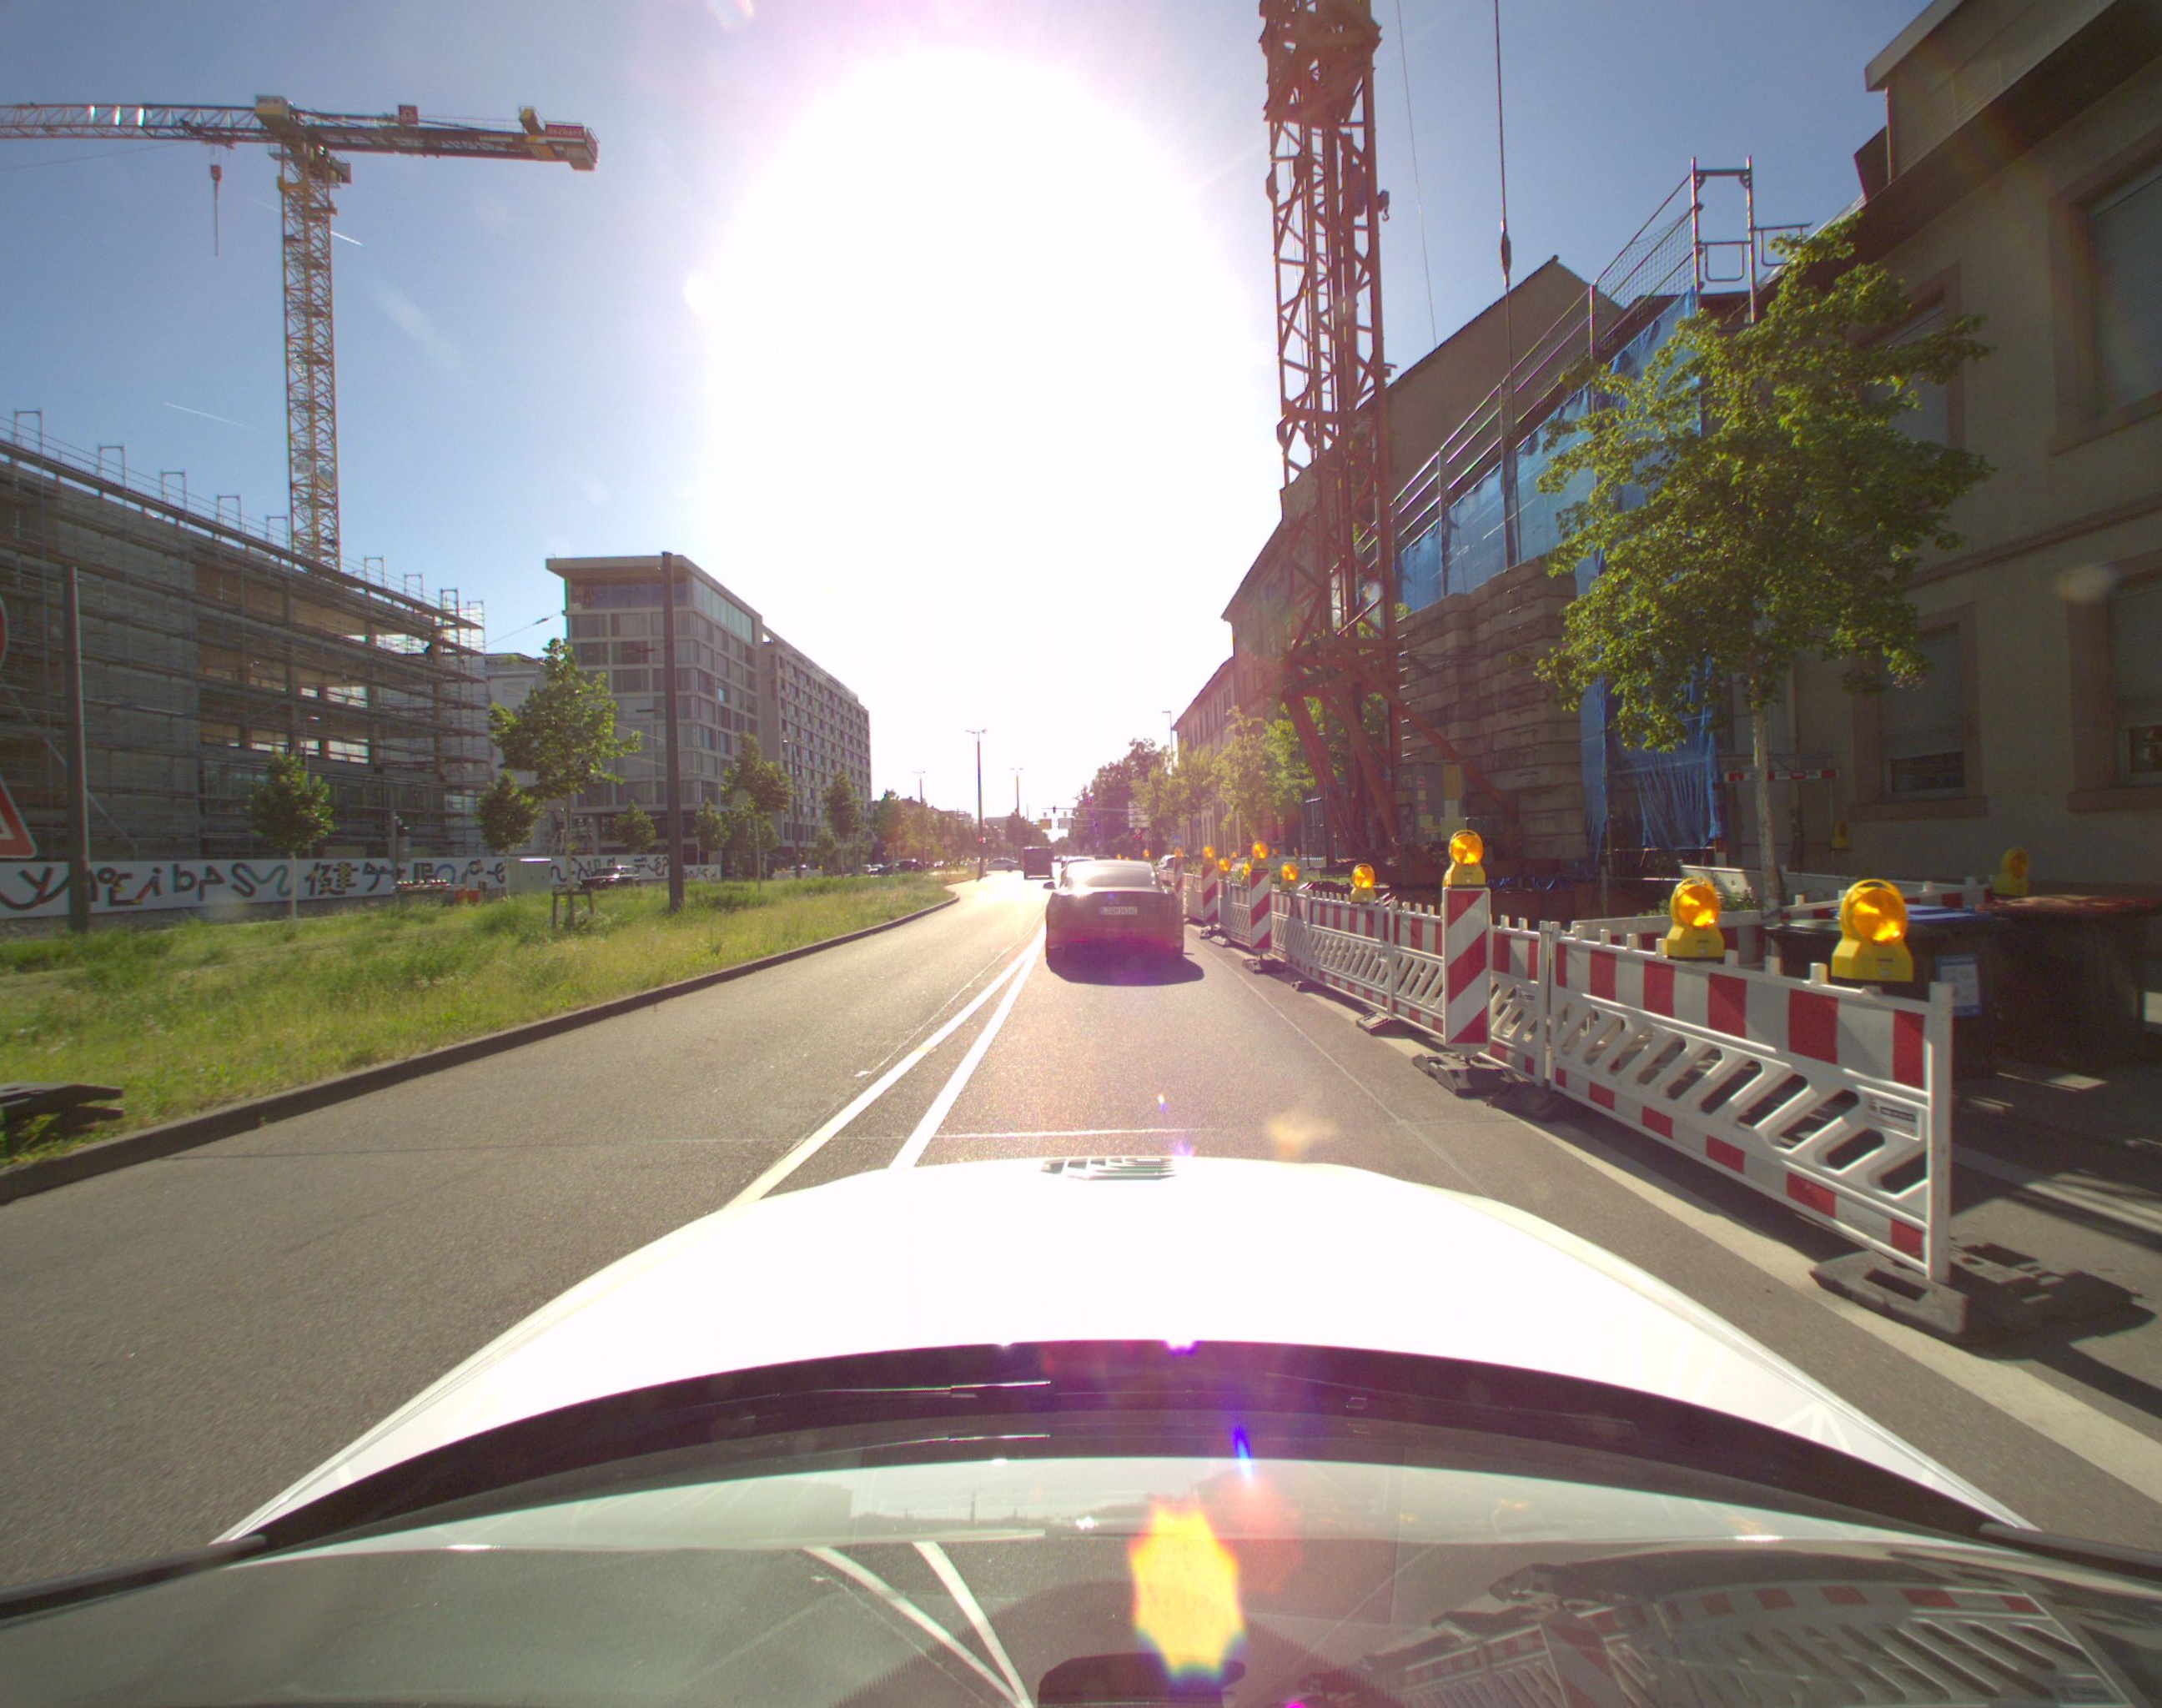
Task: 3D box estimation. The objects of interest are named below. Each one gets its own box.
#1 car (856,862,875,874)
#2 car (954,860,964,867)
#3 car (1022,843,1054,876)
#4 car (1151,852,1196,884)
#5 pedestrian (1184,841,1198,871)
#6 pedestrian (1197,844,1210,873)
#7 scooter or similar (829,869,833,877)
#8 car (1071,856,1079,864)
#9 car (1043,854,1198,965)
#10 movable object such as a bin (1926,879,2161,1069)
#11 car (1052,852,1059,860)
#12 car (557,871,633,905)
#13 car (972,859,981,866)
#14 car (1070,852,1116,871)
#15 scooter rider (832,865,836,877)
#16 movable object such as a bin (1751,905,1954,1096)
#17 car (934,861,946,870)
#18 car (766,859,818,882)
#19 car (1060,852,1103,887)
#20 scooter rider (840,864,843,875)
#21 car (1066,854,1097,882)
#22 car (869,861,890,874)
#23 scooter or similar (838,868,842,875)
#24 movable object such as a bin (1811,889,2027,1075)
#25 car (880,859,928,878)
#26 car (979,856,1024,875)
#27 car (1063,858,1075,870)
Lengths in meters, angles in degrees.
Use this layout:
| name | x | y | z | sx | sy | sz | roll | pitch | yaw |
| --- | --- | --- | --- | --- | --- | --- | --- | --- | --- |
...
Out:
| name | x | y | z | sx | sy | sz | roll | pitch | yaw |
| --- | --- | --- | --- | --- | --- | --- | --- | --- | --- |
| car | -33.222 | 2.136 | 125.609 | 1.785 | 1.651 | 3.999 | -2 | 0 | 0 |
| car | -30.298 | 2.336 | 202.777 | 1.785 | 1.651 | 3.999 | -2 | 0 | 0 |
| car | -3.056 | 0.368 | 58.495 | 2.212 | 2.267 | 4.481 | 0 | 0 | -2 |
| car | 4.823 | 0.693 | 42.937 | 1.643 | 1.475 | 4.698 | -4 | 0 | -1 |
| pedestrian | 7.167 | 0.116 | 53.170 | 0.656 | 1.913 | 0.587 | -5 | 0 | -2 |
| pedestrian | 7.996 | 0.274 | 53.209 | 0.561 | 1.821 | 0.587 | -5 | 0 | -2 |
| scooter or similar | -31.892 | 2.449 | 103.789 | 0.285 | 0.947 | 0.765 | -2 | 0 | -8 |
| car | -1.444 | 1.531 | 198.177 | 1.787 | 1.873 | 3.846 | -1 | -1 | -2 |
| car | 0.491 | 0.726 | 13.037 | 2.045 | 1.444 | 4.522 | 0 | 0 | -1 |
| movable object such as a bin | 6.287 | 0.739 | 5.339 | 0.587 | 1.057 | 0.782 | -6 | 1 | -5 |
| car | -6.332 | 0.590 | 199.950 | 1.787 | 1.873 | 3.846 | -1 | -1 | -2 |
| car | -30.429 | 2.096 | 51.139 | 1.901 | 1.918 | 4.332 | -2 | 0 | 3 |
| car | -26.626 | 2.259 | 208.159 | 1.802 | 1.651 | 3.999 | -2 | 0 | 0 |
| car | 1.285 | 0.749 | 84.479 | 4.485 | 1.792 | 2.005 | -2 | 0 | 9 |
| scooter rider | -31.528 | 2.170 | 103.971 | 0.341 | 1.453 | 0.239 | -2 | 0 | -1 |
| movable object such as a bin | 4.822 | 0.881 | 5.139 | 0.586 | 1.058 | 0.730 | -1 | 0 | 0 |
| car | -28.350 | 2.285 | 163.695 | 1.785 | 1.651 | 3.999 | -2 | 0 | 0 |
| car | -26.479 | 1.497 | 74.644 | 4.009 | 1.918 | 1.891 | -2 | 0 | -44 |
| car | -0.020 | 0.640 | 36.154 | 1.742 | 1.427 | 4.836 | -1 | 0 | -1 |
| scooter rider | -30.588 | 1.951 | 103.934 | 0.341 | 1.453 | 0.239 | -2 | 0 | -1 |
| car | 0.017 | 0.782 | 47.787 | 1.744 | 1.527 | 4.004 | -1 | 0 | 0 |
| car | -27.680 | 1.822 | 111.896 | 1.785 | 1.651 | 3.999 | -2 | 0 | 0 |
| scooter or similar | -30.777 | 2.226 | 103.846 | 0.228 | 0.947 | 0.767 | -2 | 0 | 0 |
| movable object such as a bin | 5.480 | 0.802 | 5.374 | 0.593 | 1.057 | 0.730 | -5 | 0 | 0 |
| car | -17.869 | 1.439 | 82.152 | 4.529 | 1.792 | 1.986 | -2 | 0 | -21 |
| car | -8.269 | 1.221 | 85.345 | 4.502 | 1.792 | 1.998 | -2 | 0 | -3 |
| car | -1.949 | 1.668 | 130.208 | 1.787 | 1.873 | 3.846 | -1 | -1 | -2 |
